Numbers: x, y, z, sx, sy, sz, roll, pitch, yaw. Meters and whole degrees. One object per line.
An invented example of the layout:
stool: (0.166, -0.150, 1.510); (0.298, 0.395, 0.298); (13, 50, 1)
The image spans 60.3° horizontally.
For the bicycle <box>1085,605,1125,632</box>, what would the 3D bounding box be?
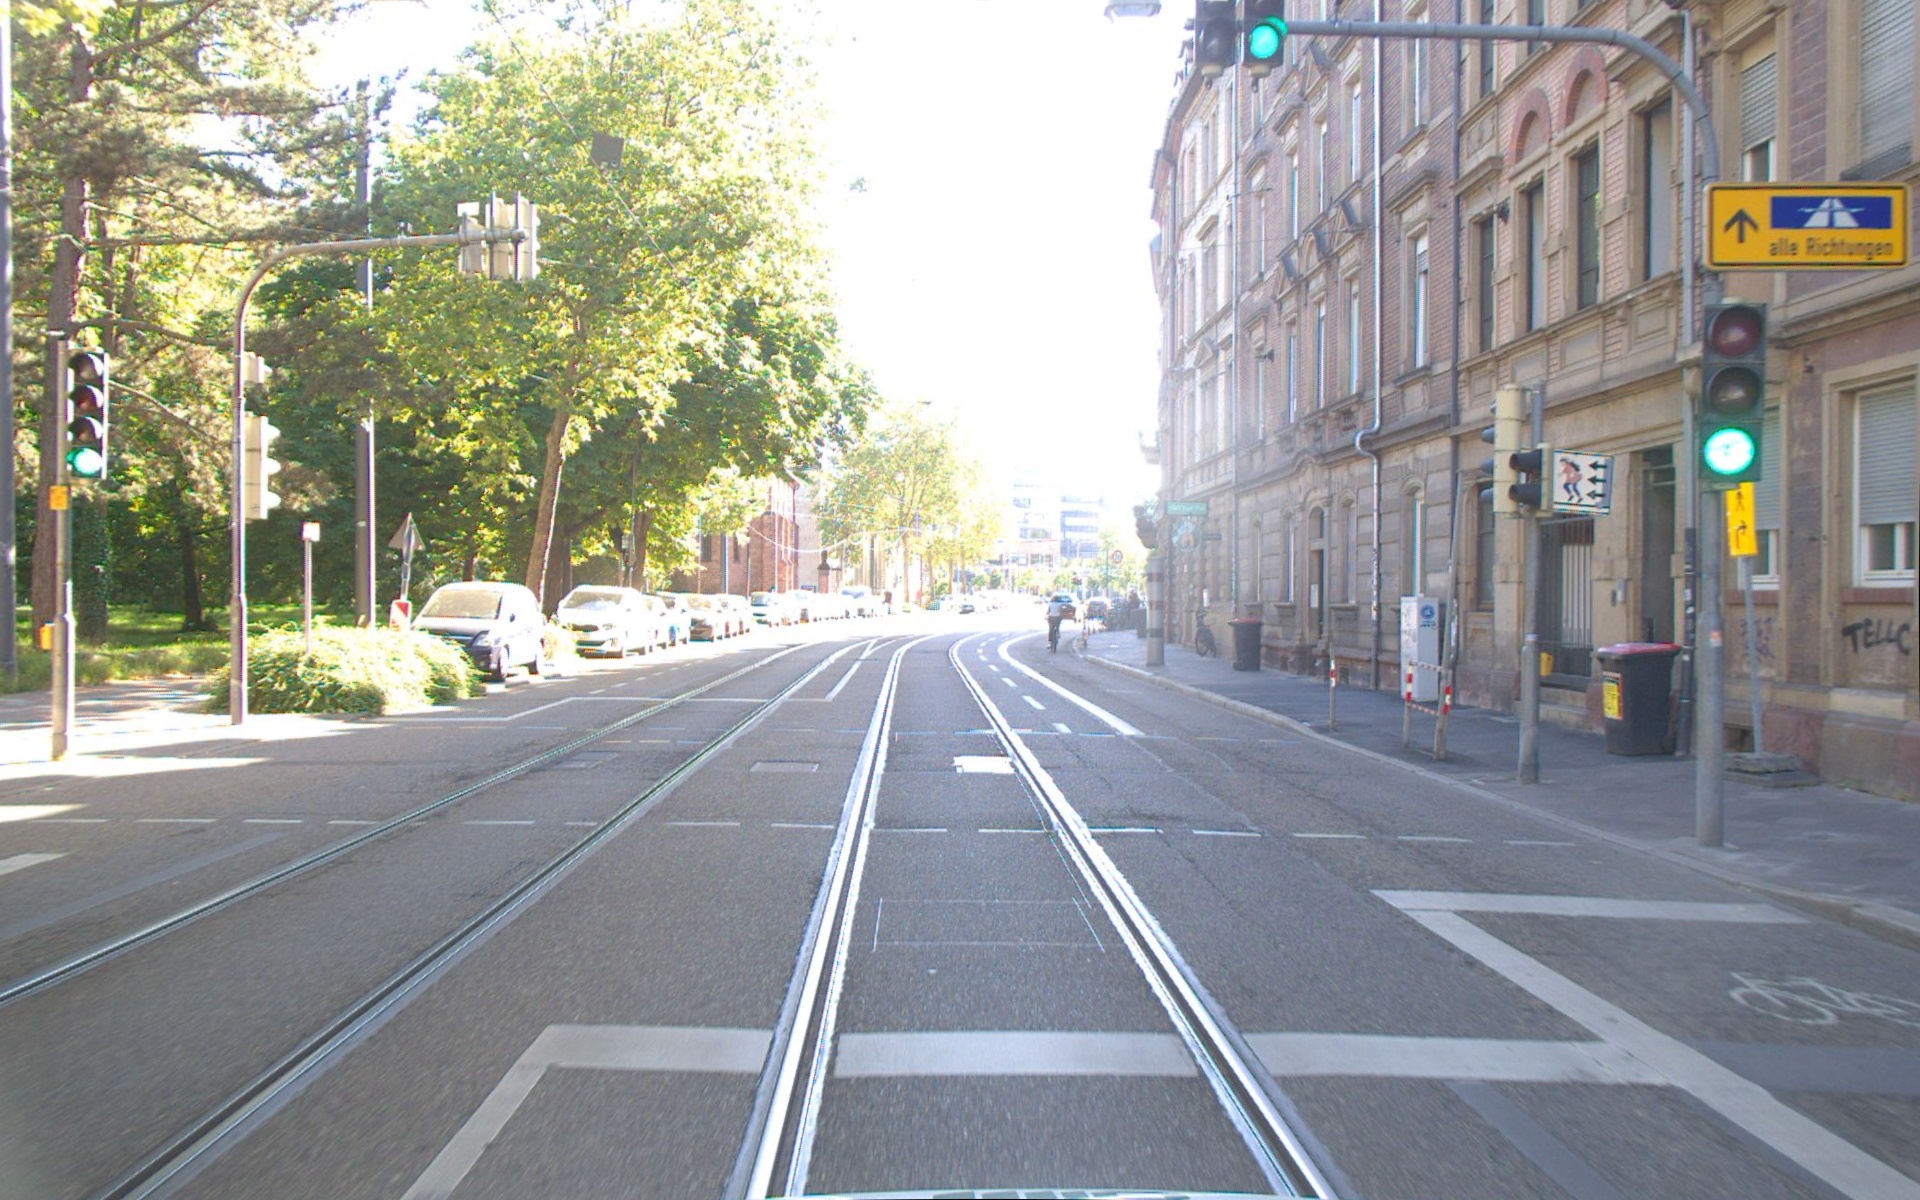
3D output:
bicycle: (6.237, 0.801, 71.198); (0.628, 1.137, 2.289); (1, -1, 35)

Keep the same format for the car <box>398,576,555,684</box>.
car: (-8.289, 0.499, 28.657); (1.513, 1.687, 3.762); (2, 0, 1)

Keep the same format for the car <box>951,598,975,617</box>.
car: (0.281, 0.620, 136.873); (1.712, 1.447, 4.045); (2, 0, 3)

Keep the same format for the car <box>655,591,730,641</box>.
car: (-8.838, 0.528, 54.844); (1.712, 1.536, 4.044); (2, 0, 1)

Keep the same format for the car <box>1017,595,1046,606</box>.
car: (10.389, 0.011, 240.532); (3.944, 1.447, 1.755); (2, 0, 8)

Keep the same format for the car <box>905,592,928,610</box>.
car: (-3.843, 0.100, 146.418); (1.712, 1.447, 4.045); (2, 0, 3)

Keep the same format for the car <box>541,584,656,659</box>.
car: (-8.521, 0.498, 39.314); (1.712, 1.636, 4.044); (2, 0, 1)

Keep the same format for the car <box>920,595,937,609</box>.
car: (-3.727, 0.242, 194.450); (1.712, 1.653, 4.045); (2, 0, 3)

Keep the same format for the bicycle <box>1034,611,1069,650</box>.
bicycle: (2.758, 0.912, 50.213); (0.838, 1.107, 2.486); (2, 0, -2)

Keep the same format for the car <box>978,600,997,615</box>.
car: (2.797, 0.738, 167.440); (1.712, 1.447, 4.045); (2, 0, 3)

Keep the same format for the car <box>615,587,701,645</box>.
car: (-8.945, 0.469, 49.323); (1.712, 1.614, 4.044); (2, 0, 1)

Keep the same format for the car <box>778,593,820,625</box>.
car: (-8.568, 0.460, 88.309); (1.712, 1.614, 4.044); (2, 0, 1)

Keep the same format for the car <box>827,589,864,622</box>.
car: (-7.509, 0.350, 108.654); (2.016, 2.088, 4.044); (2, 0, 1)

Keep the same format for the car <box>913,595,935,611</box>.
car: (-3.405, 0.318, 156.464); (1.712, 1.447, 4.045); (2, 0, 3)

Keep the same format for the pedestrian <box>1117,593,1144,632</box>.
pedestrian: (7.902, 0.581, 76.533); (1.033, 1.791, 1.332); (2, -1, -1)

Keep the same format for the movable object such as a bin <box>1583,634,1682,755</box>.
movable object such as a bin: (6.634, 0.921, 16.342); (0.608, 1.129, 0.780); (2, -1, -4)

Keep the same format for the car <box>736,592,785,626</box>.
car: (-9.352, 0.419, 77.776); (1.712, 1.521, 4.044); (2, 0, 1)

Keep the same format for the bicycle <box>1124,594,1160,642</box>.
bicycle: (6.123, 0.594, 55.575); (0.950, 1.541, 3.249); (2, 0, 10)

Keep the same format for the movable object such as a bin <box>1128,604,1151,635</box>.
movable object such as a bin: (6.617, 0.717, 60.888); (0.681, 1.112, 0.741); (2, -1, -4)

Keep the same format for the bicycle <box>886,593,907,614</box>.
bicycle: (-4.918, 0.306, 128.860); (1.208, 1.600, 2.899); (2, 0, 6)

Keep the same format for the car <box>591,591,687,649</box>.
car: (-8.667, 0.541, 44.978); (1.712, 1.447, 4.044); (2, 0, 1)

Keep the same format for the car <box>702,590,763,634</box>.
car: (-8.888, 0.486, 64.820); (1.712, 1.614, 4.044); (2, 0, 1)

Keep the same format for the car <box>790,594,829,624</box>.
car: (-8.448, 0.493, 93.187); (1.712, 1.614, 4.044); (2, 0, 1)

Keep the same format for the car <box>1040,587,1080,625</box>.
car: (5.813, 0.352, 96.109); (1.953, 2.049, 3.999); (2, 0, -1)

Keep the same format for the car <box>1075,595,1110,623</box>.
car: (9.219, 0.639, 115.385); (1.986, 1.881, 4.297); (2, 0, -1)

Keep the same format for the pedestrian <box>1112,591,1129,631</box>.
pedestrian: (7.705, 0.525, 79.318); (0.767, 1.922, 0.971); (2, -1, 6)

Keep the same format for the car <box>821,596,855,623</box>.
car: (-7.645, 0.581, 103.606); (1.712, 1.614, 4.044); (2, 0, 1)

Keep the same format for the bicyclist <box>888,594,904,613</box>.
bicyclist: (-4.980, 0.280, 128.832); (1.054, 1.452, 1.147); (2, -1, 7)

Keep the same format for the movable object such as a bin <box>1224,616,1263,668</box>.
movable object such as a bin: (5.917, 0.863, 34.506); (0.660, 1.054, 0.813); (0, 1, -1)

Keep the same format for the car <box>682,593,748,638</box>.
car: (-8.909, 0.560, 60.399); (1.712, 1.532, 4.044); (2, 0, 1)

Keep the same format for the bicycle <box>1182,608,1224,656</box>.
bicycle: (5.981, 0.774, 40.842); (0.626, 1.137, 2.297); (2, 0, -1)

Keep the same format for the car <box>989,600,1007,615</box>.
car: (4.076, 0.809, 177.293); (1.712, 1.447, 4.045); (2, 0, 3)

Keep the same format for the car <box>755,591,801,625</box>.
car: (-9.090, 0.411, 82.851); (1.712, 1.614, 4.044); (2, 0, 1)

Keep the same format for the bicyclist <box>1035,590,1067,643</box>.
bicyclist: (2.769, 0.505, 50.351); (0.821, 1.585, 0.965); (2, -1, -2)

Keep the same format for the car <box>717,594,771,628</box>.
car: (-9.408, 0.486, 72.340); (1.712, 1.388, 4.044); (2, 0, 1)
